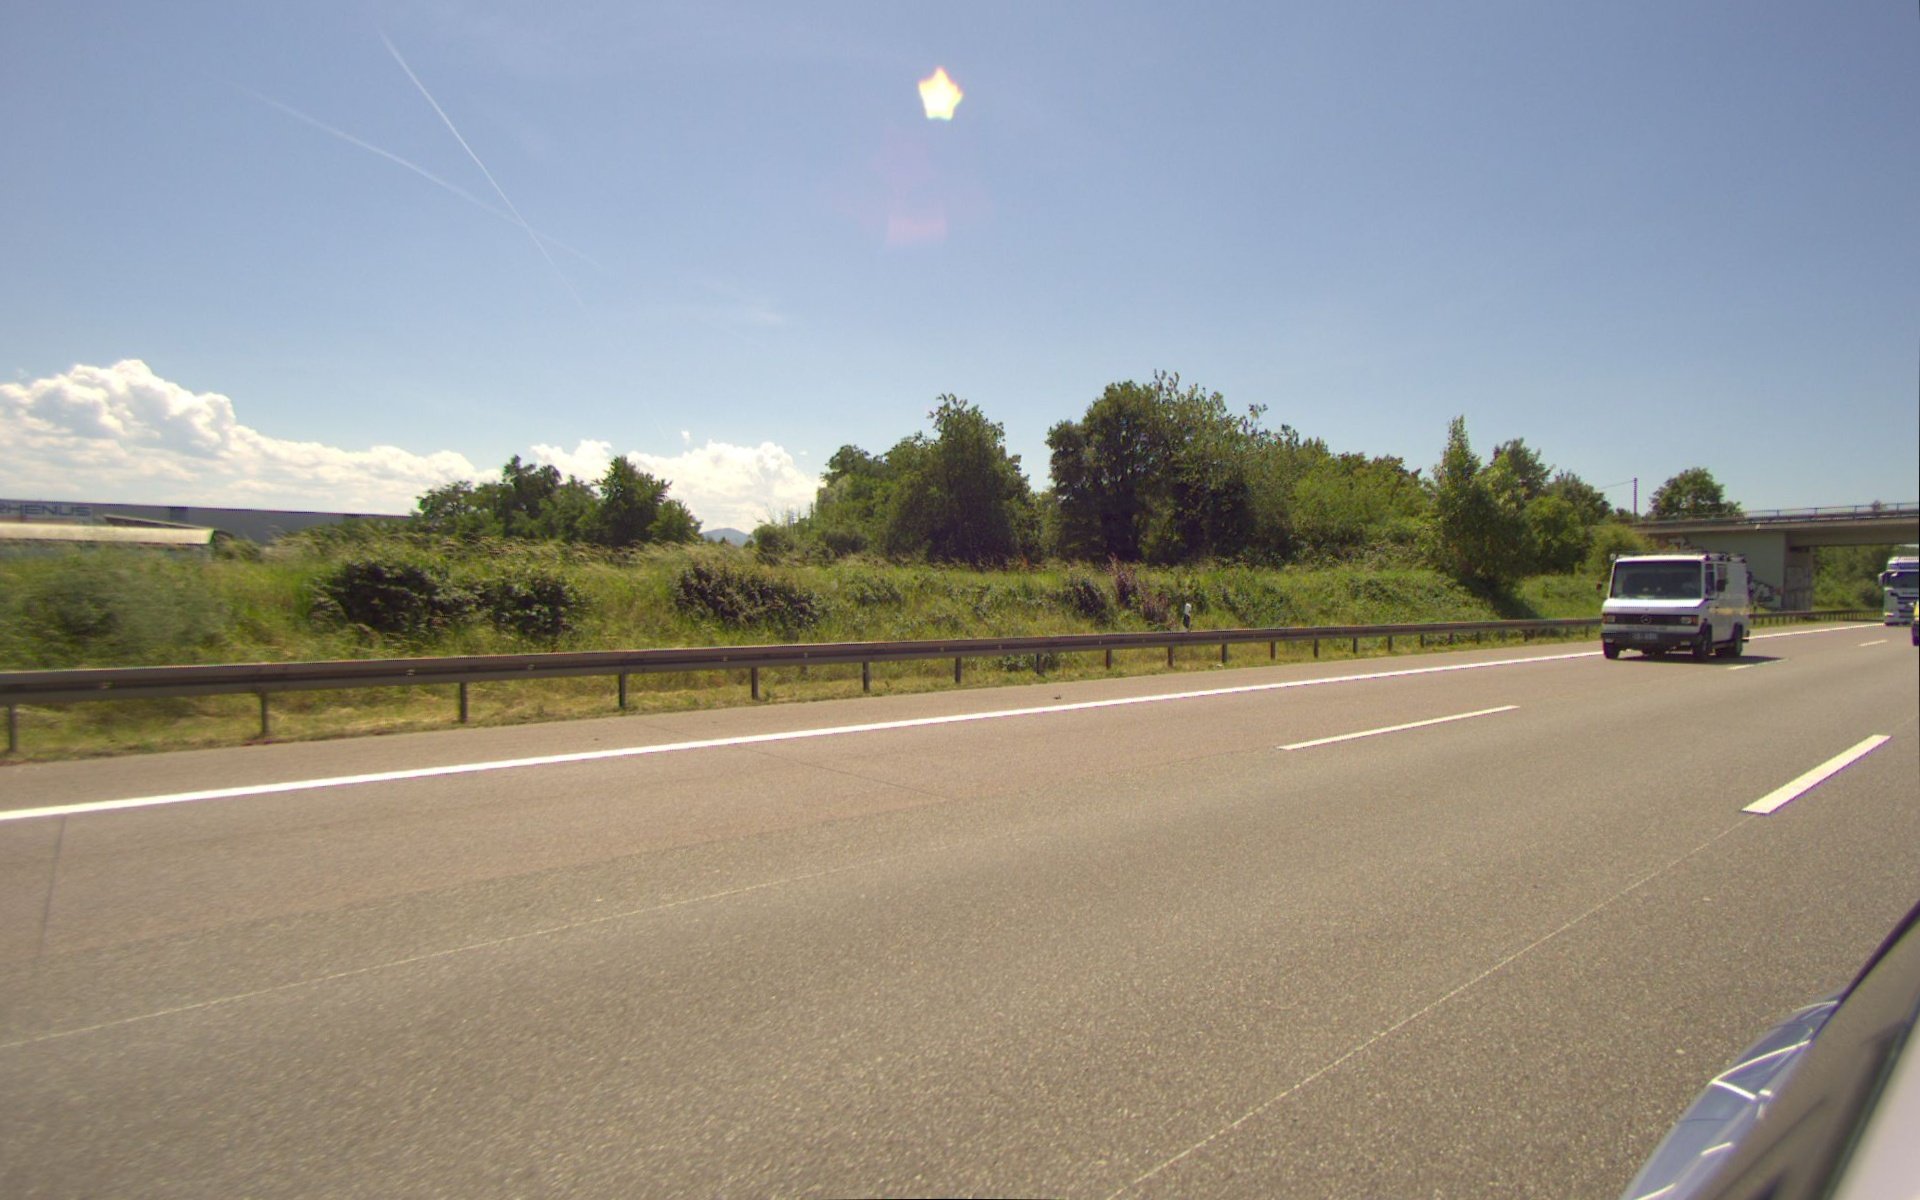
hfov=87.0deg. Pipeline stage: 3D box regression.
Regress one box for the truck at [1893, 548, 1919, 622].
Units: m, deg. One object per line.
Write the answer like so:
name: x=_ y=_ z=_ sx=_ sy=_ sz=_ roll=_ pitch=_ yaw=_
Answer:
truck: x=58.707 y=-0.898 z=60.601 sx=13.124 sy=4.097 sz=2.802 roll=-1 pitch=-1 yaw=-42

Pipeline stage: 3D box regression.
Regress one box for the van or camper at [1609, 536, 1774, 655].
van or camper: x=18.896 y=-0.134 z=26.001 sx=6.257 sy=2.737 sz=2.117 roll=-1 pitch=0 yaw=-42
